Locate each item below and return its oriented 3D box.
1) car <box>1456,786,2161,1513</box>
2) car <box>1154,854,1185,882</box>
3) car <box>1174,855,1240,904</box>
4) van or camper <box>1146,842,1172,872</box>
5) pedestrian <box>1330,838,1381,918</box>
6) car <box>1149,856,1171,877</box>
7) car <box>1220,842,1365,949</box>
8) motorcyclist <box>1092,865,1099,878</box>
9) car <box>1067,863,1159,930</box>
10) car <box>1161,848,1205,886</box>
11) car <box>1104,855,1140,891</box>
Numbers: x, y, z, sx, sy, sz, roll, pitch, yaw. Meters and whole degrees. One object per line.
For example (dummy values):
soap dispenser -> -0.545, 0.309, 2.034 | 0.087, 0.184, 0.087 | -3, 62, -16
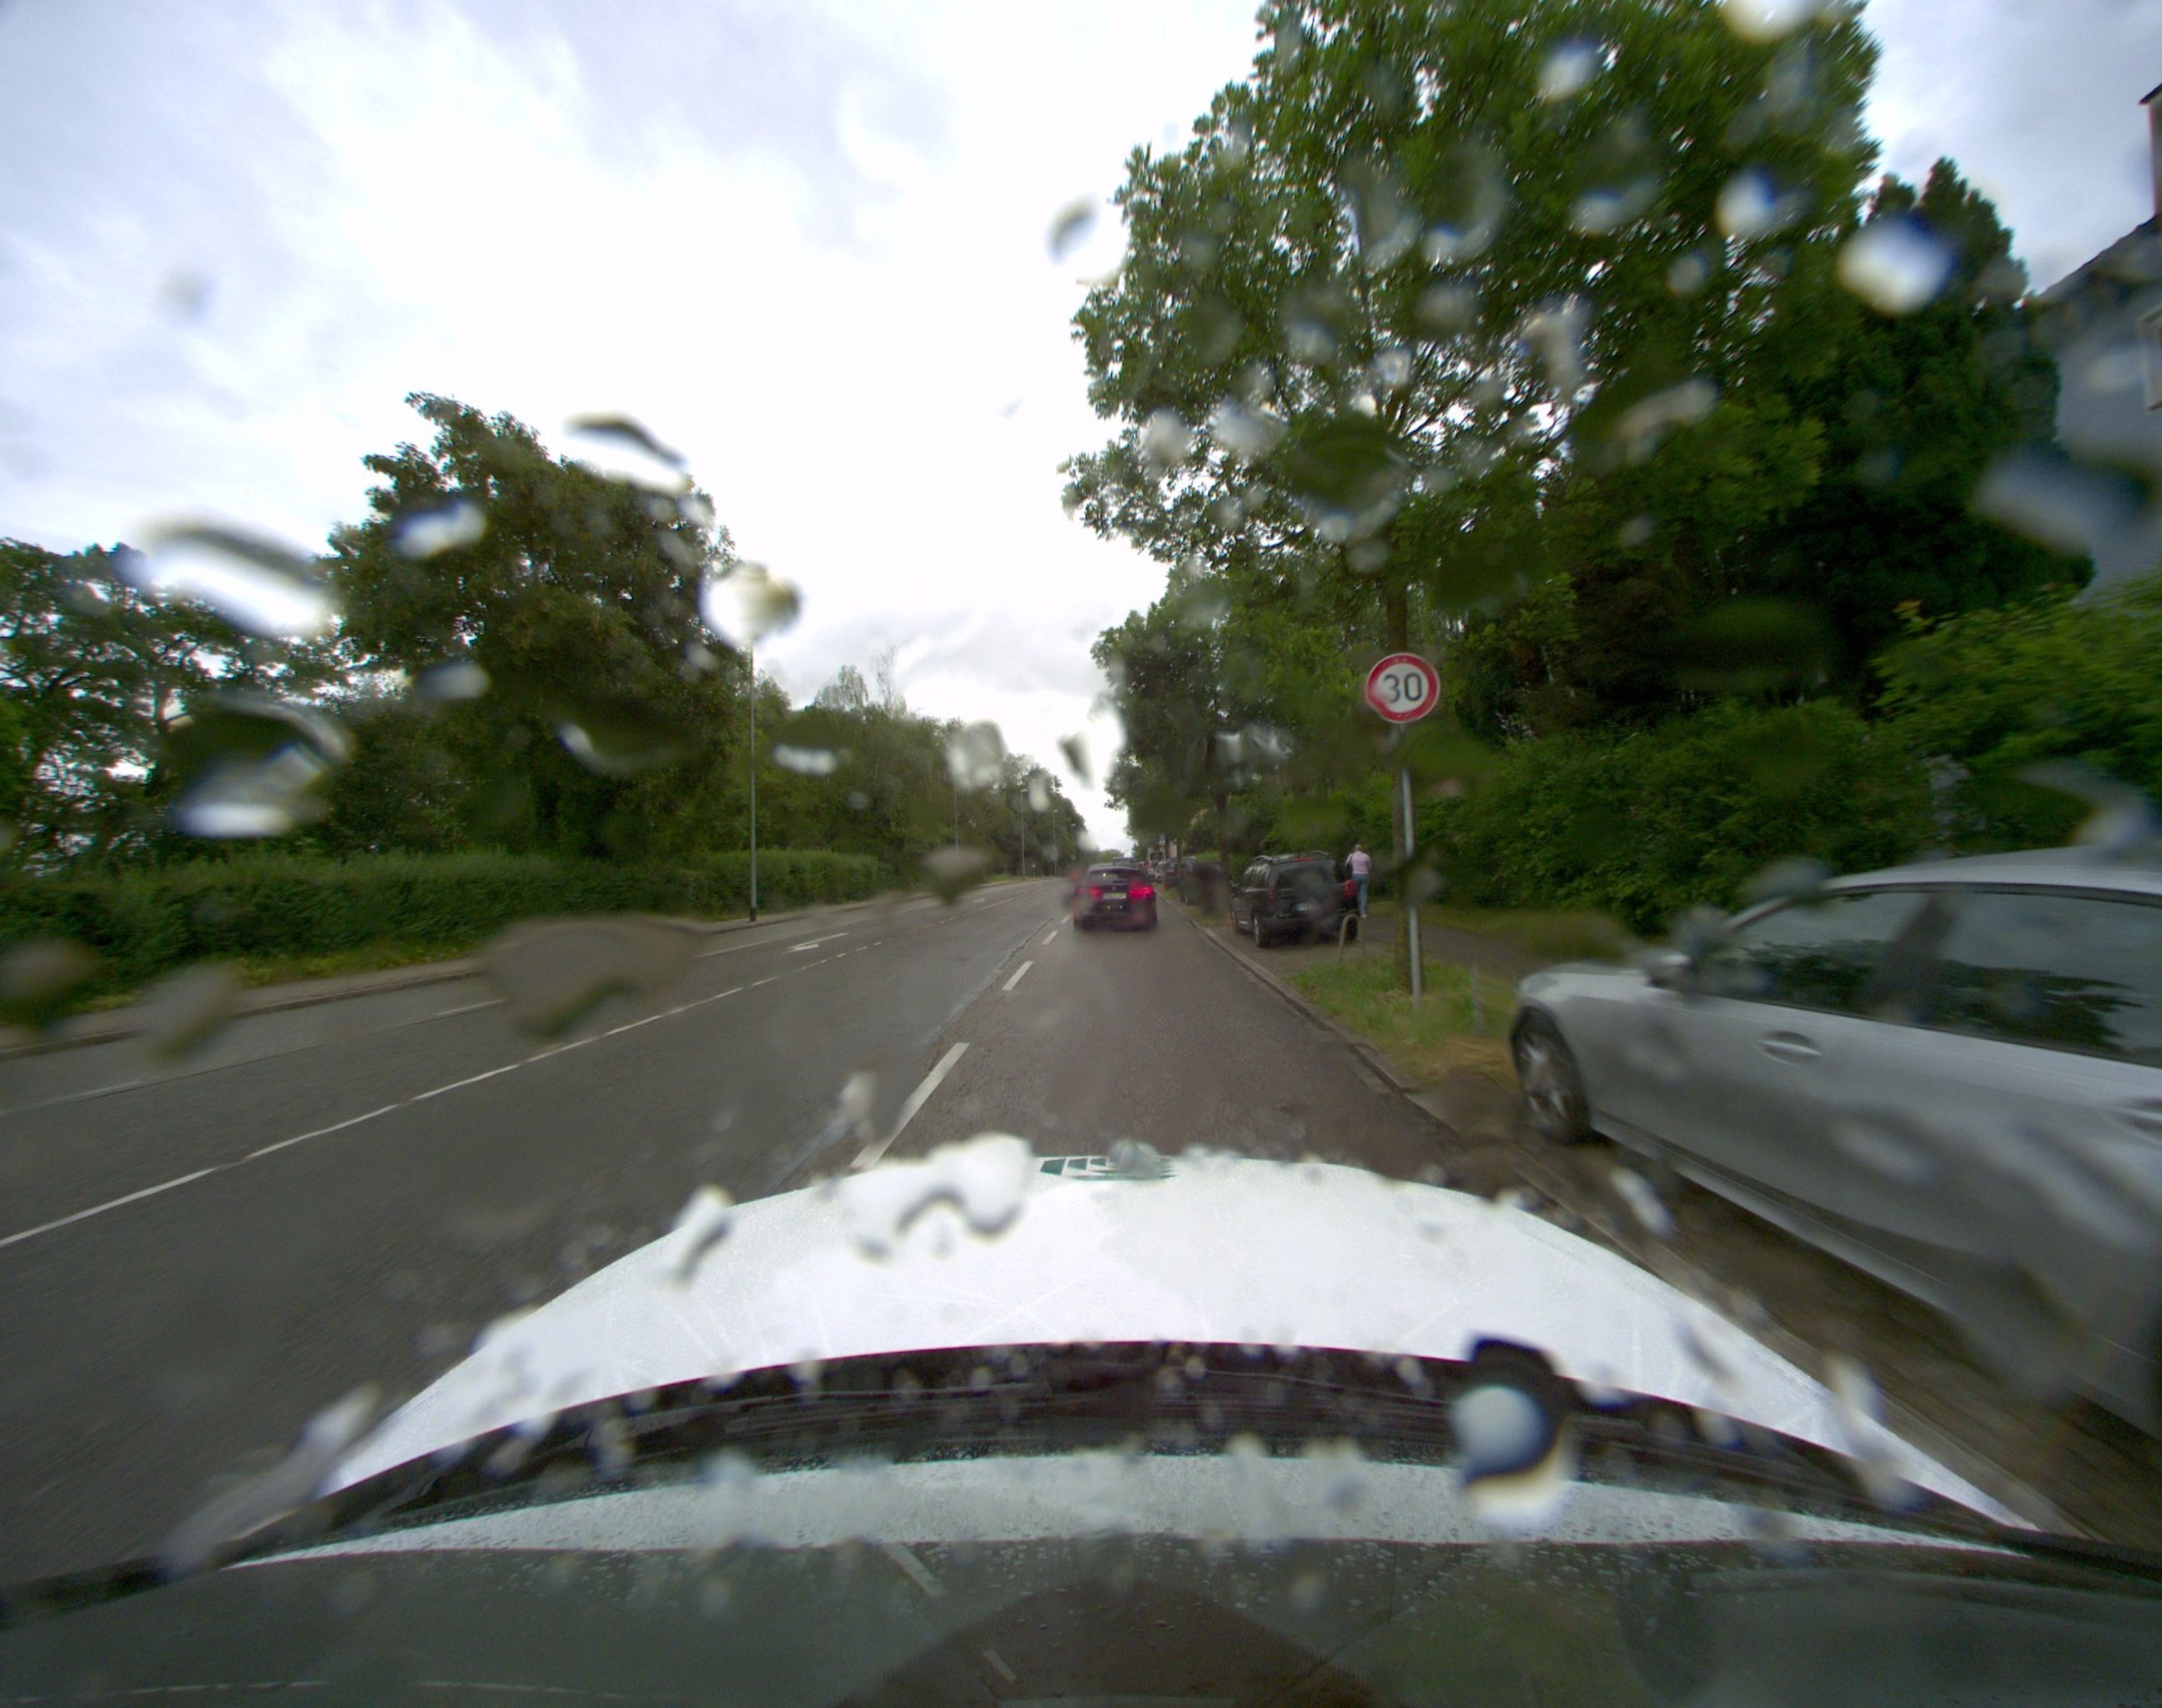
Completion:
car -> 3.158, 0.592, 2.688 | 1.792, 1.522, 4.593 | -4, -2, 2
car -> 5.680, 0.867, 52.055 | 1.814, 1.602, 4.482 | -4, 0, 7
car -> 4.328, 0.842, 28.562 | 1.716, 1.512, 3.787 | -4, 0, 1
van or camper -> 7.478, 0.304, 78.842 | 2.187, 2.651, 7.310 | -4, 0, 5
pedestrian -> 6.026, 0.514, 17.924 | 0.714, 1.680, 0.894 | -4, -1, -1
car -> 6.531, 1.048, 67.138 | 1.660, 1.528, 3.838 | -5, -1, 6
car -> 3.714, 0.665, 15.001 | 1.636, 1.595, 4.015 | -4, 0, 1
motorcyclist -> 1.800, 2.153, 100.162 | 0.810, 1.681, 0.649 | -1, -1, -8
car -> 0.775, 0.963, 19.697 | 1.986, 1.453, 4.002 | 0, -1, 2
car -> 5.119, 0.640, 41.425 | 1.816, 1.677, 4.588 | -4, 0, 3
car -> 2.536, 1.141, 49.406 | 1.984, 2.014, 4.005 | -2, -1, 4
